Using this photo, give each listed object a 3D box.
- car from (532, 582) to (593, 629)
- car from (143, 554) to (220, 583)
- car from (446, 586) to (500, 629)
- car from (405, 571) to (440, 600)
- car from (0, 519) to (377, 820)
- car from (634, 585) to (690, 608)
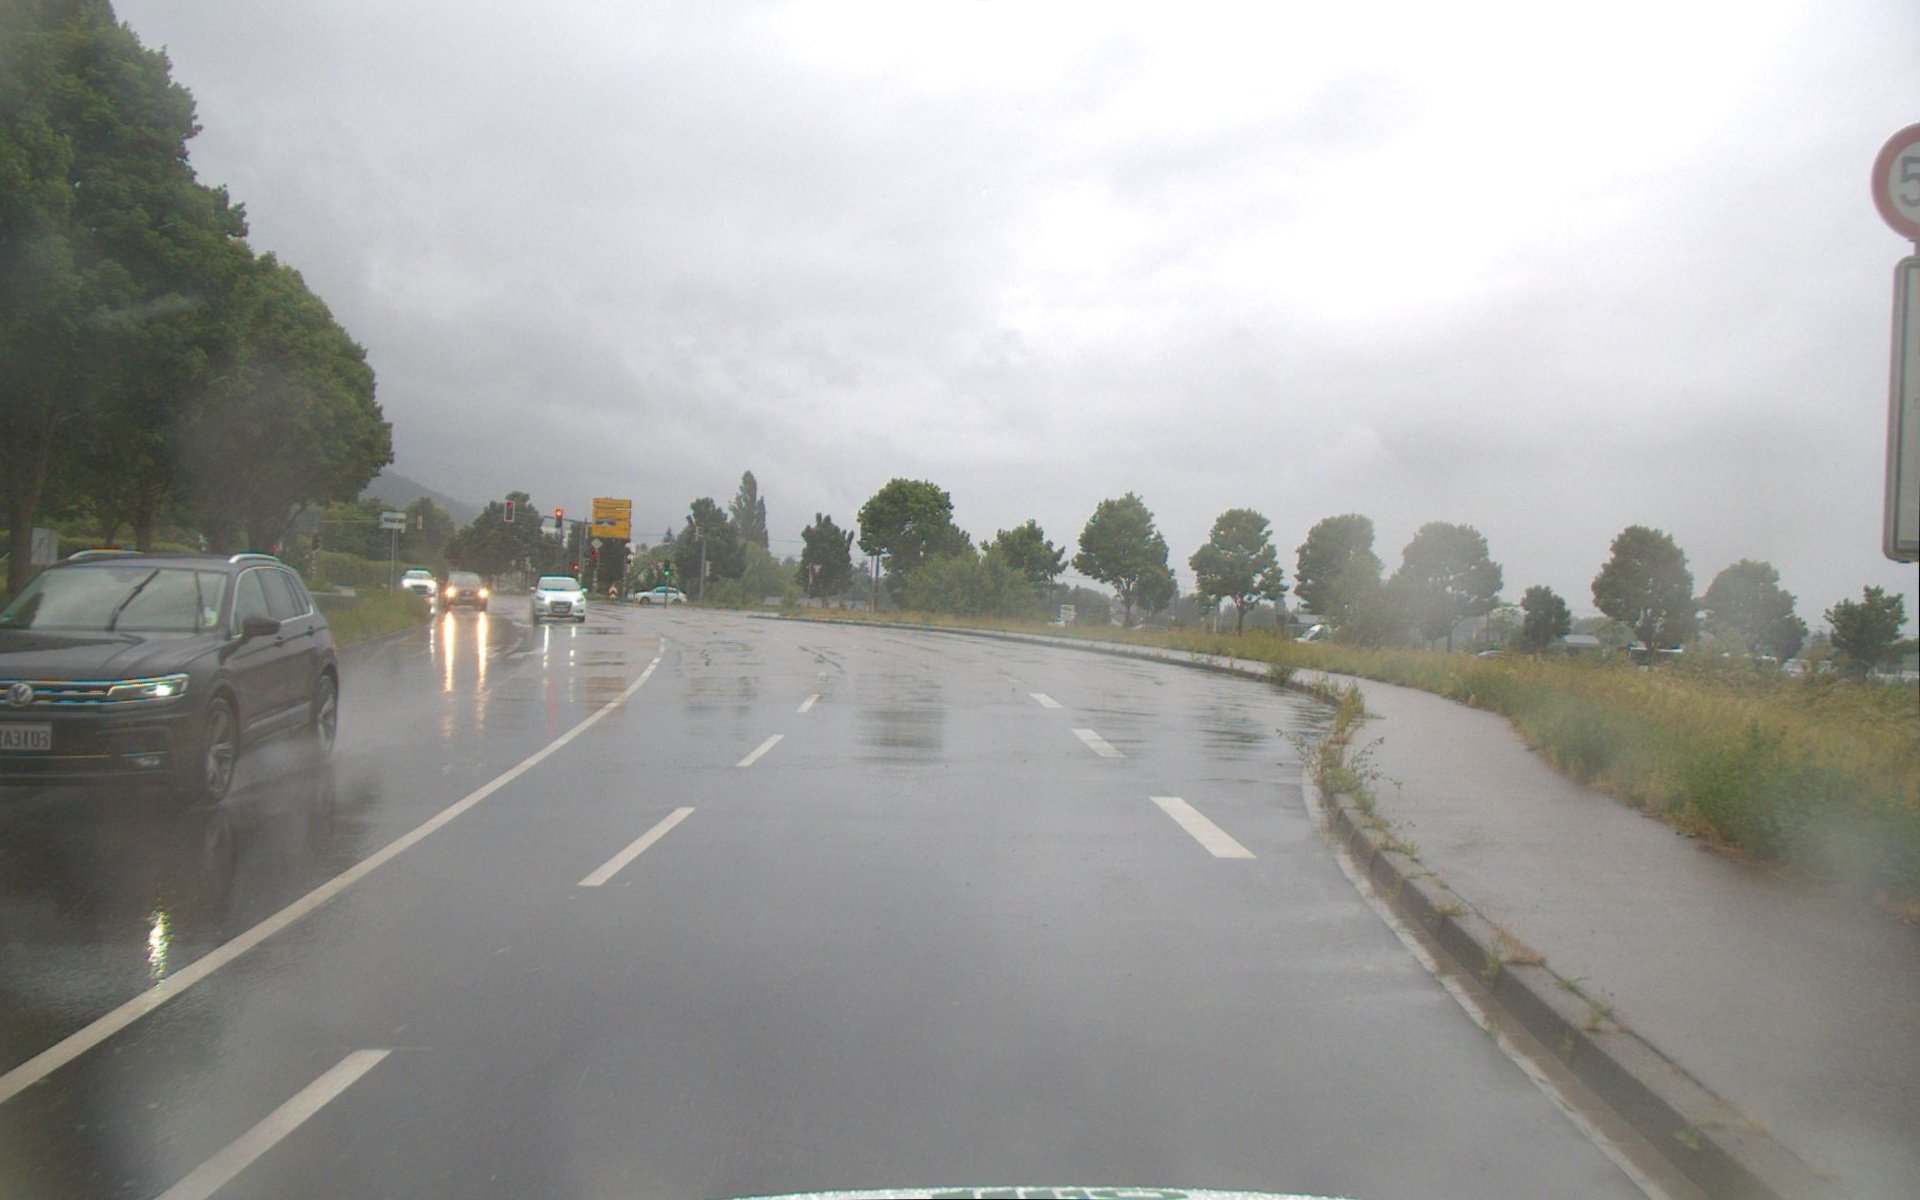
[{"bbox_3d":[-13.536,0.170,56.528,1.707,1.513,4.002,1,0,-10],"label":"car"},{"bbox_3d":[-51.746,-2.090,110.017,4.303,1.607,1.725,3,0,-16],"label":"car"},{"bbox_3d":[-20.142,0.287,68.512,1.853,1.615,4.103,4,-1,-14],"label":"car"},{"bbox_3d":[-31.067,-0.856,95.520,1.850,1.601,4.620,1,0,-18],"label":"car"},{"bbox_3d":[-5.760,0.394,11.931,1.887,1.774,4.284,1,0,-5],"label":"car"},{"bbox_3d":[-24.290,-0.307,134.658,4.302,1.607,1.726,3,0,-15],"label":"car"}]
